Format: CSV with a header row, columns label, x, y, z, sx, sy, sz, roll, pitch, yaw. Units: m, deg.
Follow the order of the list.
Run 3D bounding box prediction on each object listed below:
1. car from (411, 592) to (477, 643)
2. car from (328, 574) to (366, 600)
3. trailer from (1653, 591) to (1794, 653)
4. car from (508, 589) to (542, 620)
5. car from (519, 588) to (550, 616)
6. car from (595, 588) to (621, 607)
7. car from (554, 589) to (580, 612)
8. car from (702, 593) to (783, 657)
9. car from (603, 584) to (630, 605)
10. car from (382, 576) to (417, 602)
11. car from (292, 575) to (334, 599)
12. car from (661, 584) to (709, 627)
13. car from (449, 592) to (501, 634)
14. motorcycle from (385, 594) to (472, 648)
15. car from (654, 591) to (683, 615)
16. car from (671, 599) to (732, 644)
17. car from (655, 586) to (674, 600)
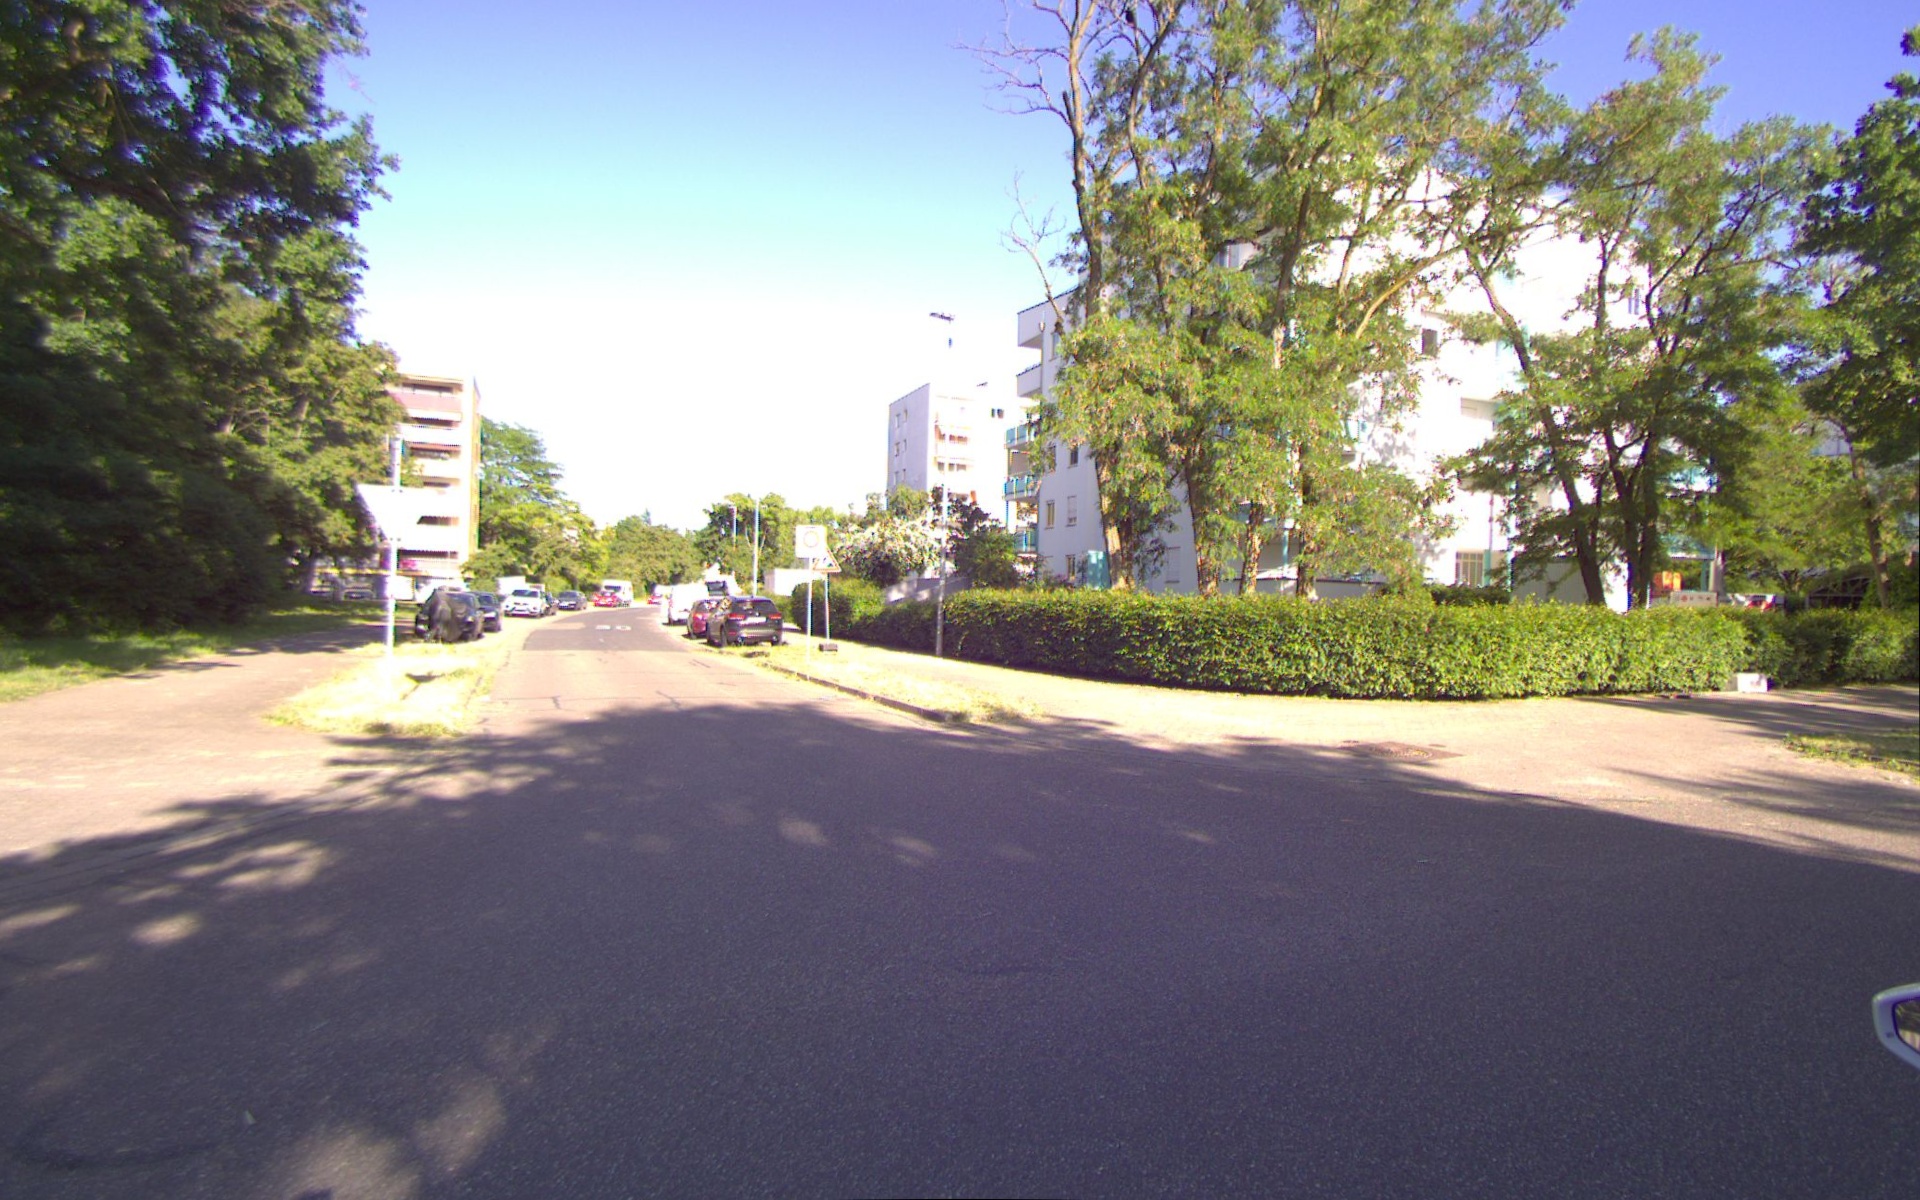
label,x,y,z,sx,sy,sz,roll,pitch,yaw
car,-15.672,0.509,30.611,1.538,1.410,3.568,1,0,-24
car,-43.277,-0.920,71.016,1.738,1.767,3.814,1,0,-24
trailer,26.863,0.774,35.349,4.364,2.070,1.973,1,0,-22
car,-23.856,0.215,55.136,1.622,1.578,3.814,1,0,-24
car,-25.634,0.127,60.505,1.622,1.578,3.814,1,0,-24
car,-32.290,-0.221,92.298,1.795,1.617,3.989,2,0,-13
car,-29.077,0.006,74.326,1.622,1.578,3.814,1,0,-24
car,-6.843,0.742,31.337,1.732,1.808,3.814,1,0,-24
car,-33.263,-0.542,97.355,1.949,1.925,3.989,1,0,-13
car,-40.156,-0.781,72.026,1.738,1.767,3.814,1,0,-24
car,-44.900,-0.885,69.772,1.775,1.547,3.814,1,0,-24
car,-13.930,0.240,50.737,1.802,2.088,3.814,1,0,-24
car,-17.815,0.442,37.011,1.538,1.410,3.568,1,0,-24
motorcycle,-14.151,0.546,26.805,0.664,1.362,1.955,2,1,35
car,-19.102,0.189,65.738,1.499,1.486,3.056,1,0,-23
car,-9.711,0.758,37.587,1.615,1.531,3.814,1,0,-24
car,-37.258,-0.924,126.621,1.860,1.662,3.991,2,0,-11
